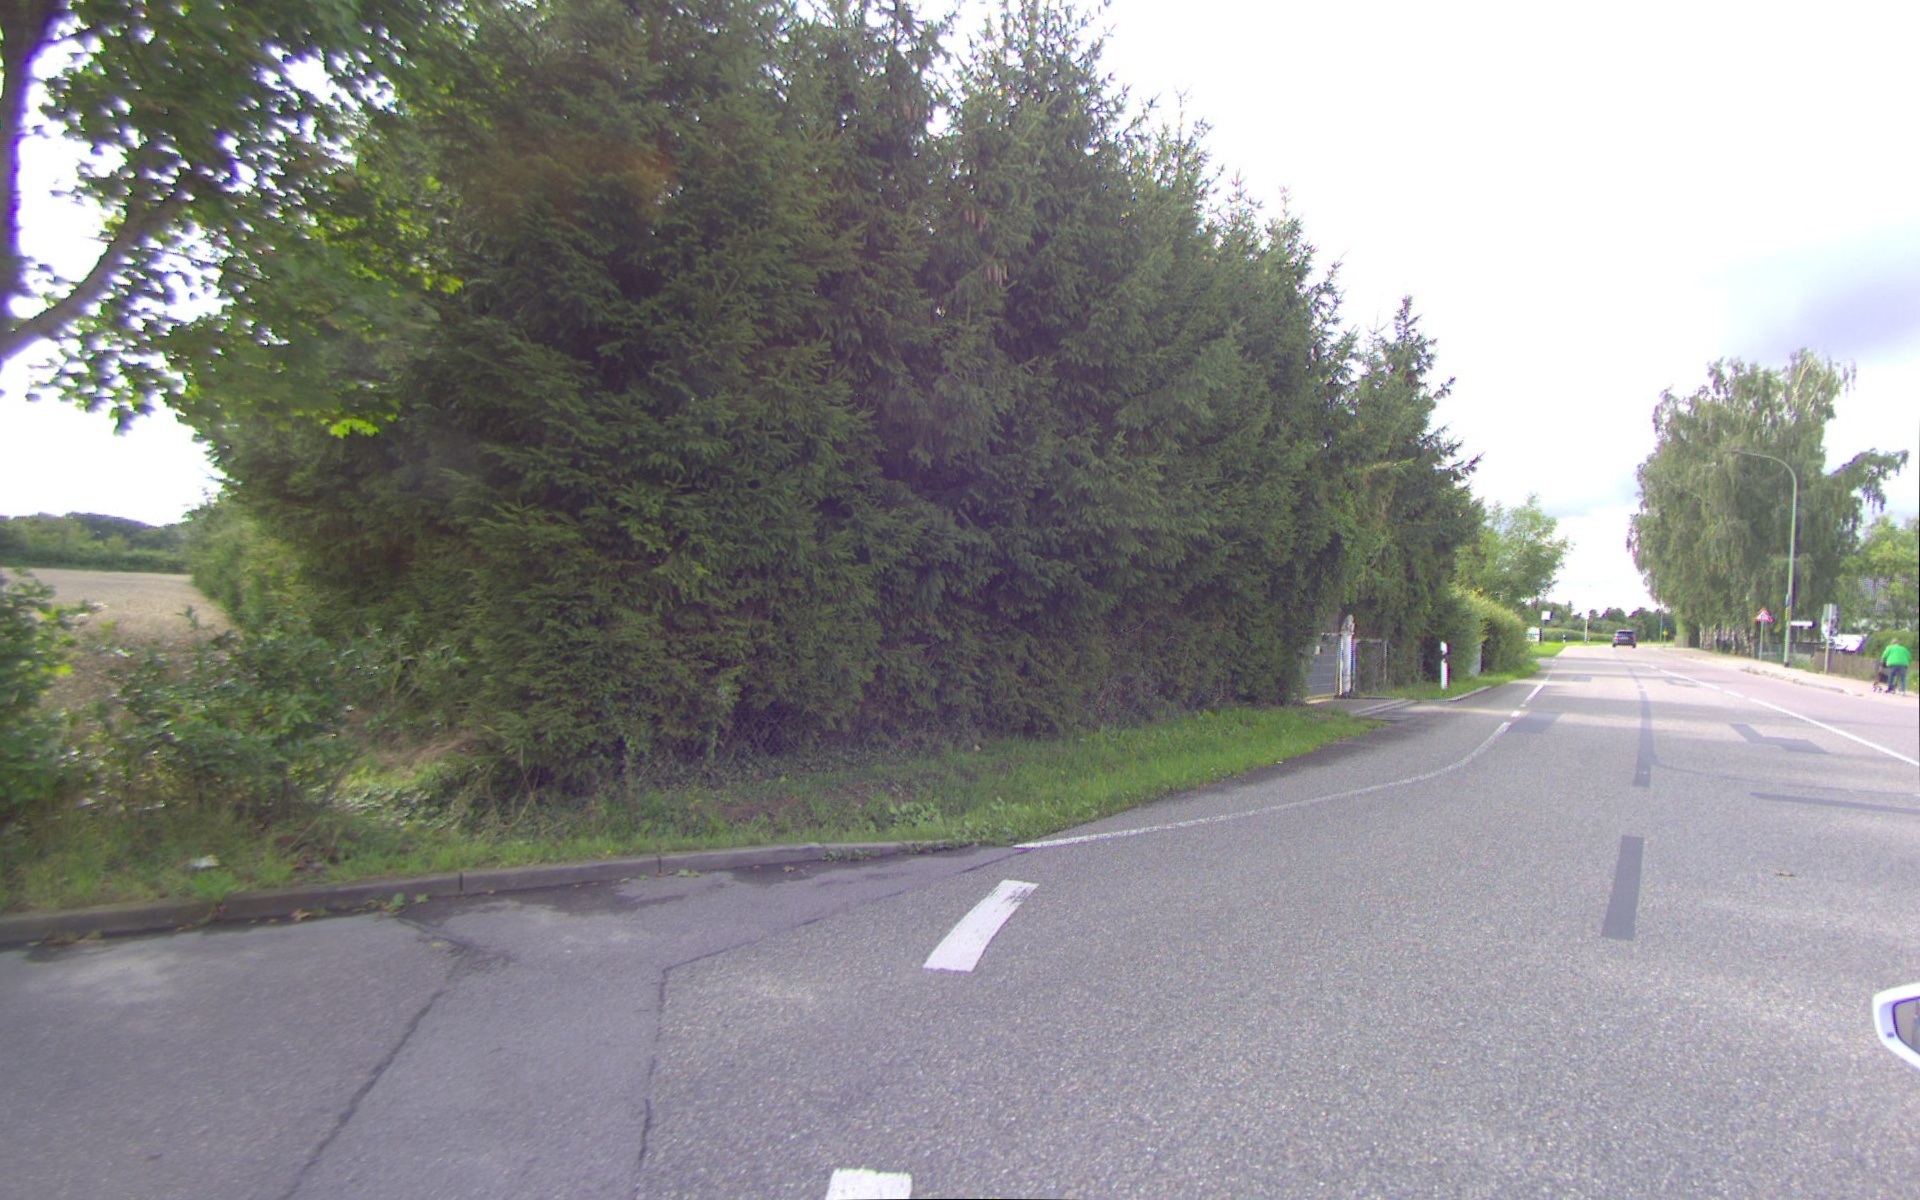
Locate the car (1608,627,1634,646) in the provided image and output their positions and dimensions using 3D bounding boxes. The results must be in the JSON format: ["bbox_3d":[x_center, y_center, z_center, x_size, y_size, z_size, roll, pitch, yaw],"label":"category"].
[{"bbox_3d":[61.148,3.319,92.938,1.966,1.572,3.989,3,1,34],"label":"car"}]

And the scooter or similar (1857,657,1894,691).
[{"bbox_3d":[28.534,2.299,31.309,0.621,0.960,0.621,7,3,28],"label":"scooter or similar"}]

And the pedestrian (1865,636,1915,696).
[{"bbox_3d":[28.353,2.006,30.645,0.777,1.687,0.711,7,3,28],"label":"pedestrian"}]
